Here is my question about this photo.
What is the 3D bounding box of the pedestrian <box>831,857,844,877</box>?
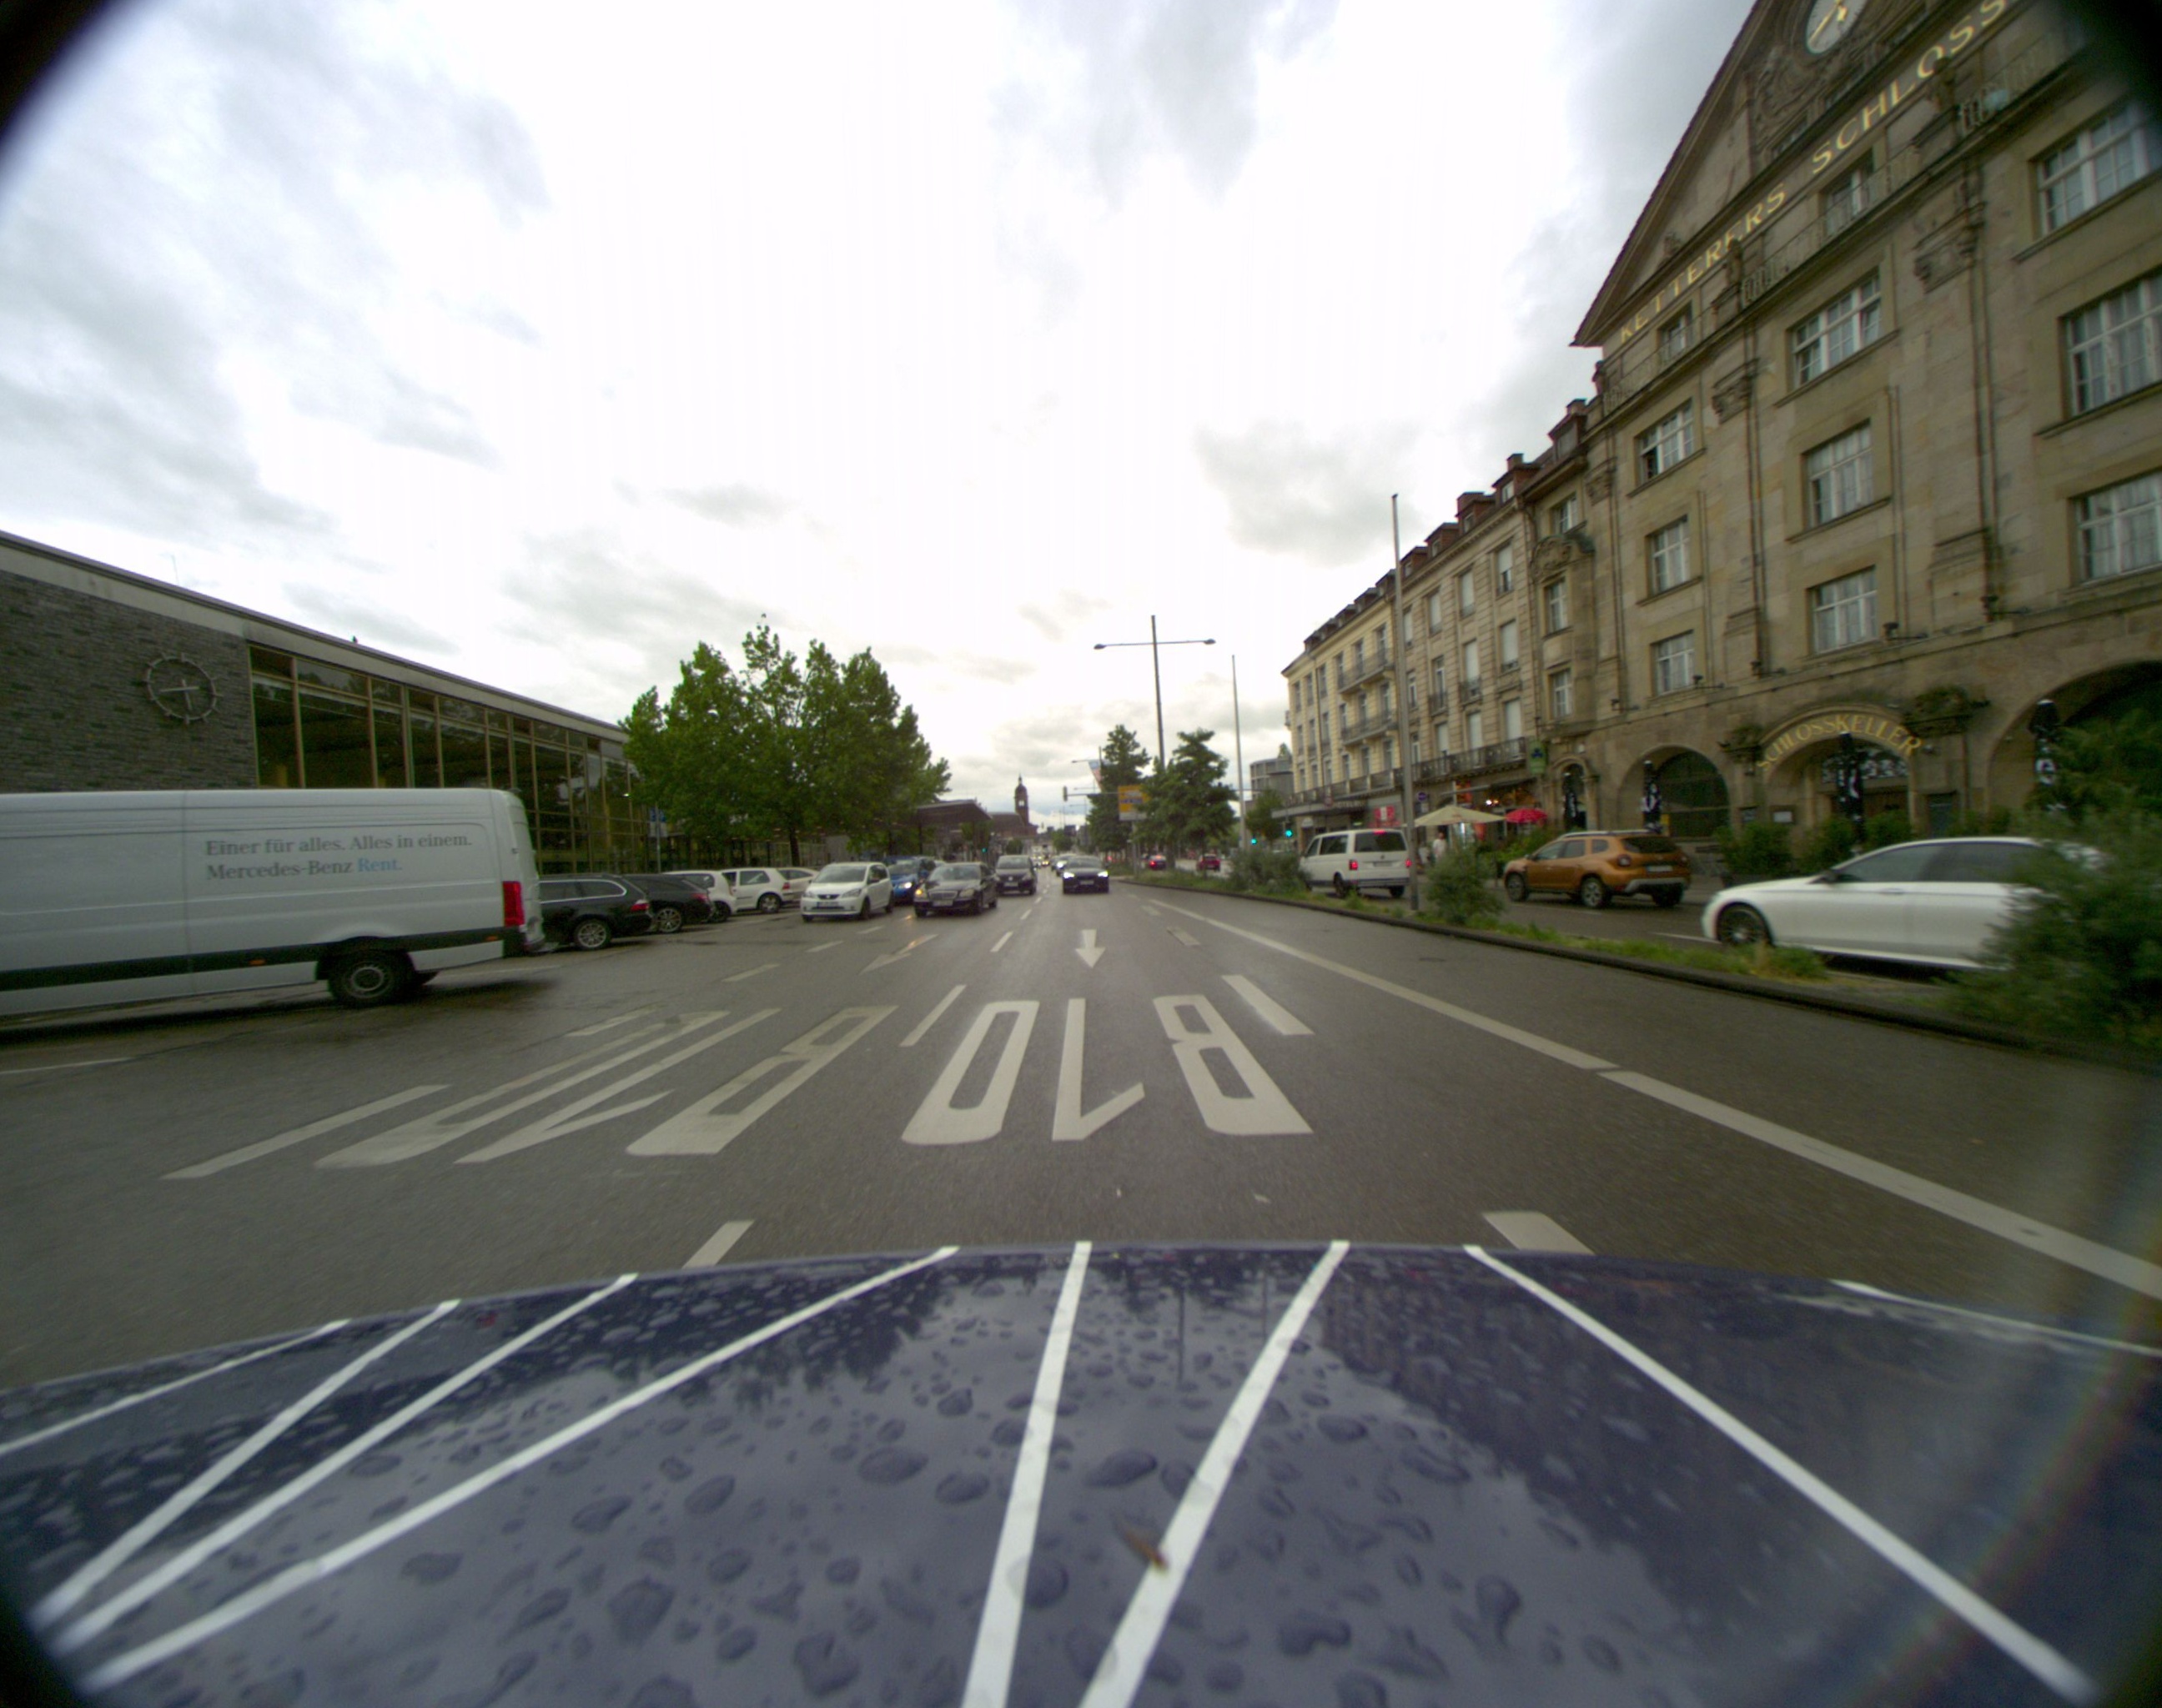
[{"bbox_3d":[-20.318,1.093,63.308,0.762,1.639,0.852,-2,1,-1],"label":"pedestrian"}]

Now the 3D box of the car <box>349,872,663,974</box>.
[{"bbox_3d":[-10.549,1.189,14.448,4.477,1.462,1.915,-2,1,-30],"label":"car"}]

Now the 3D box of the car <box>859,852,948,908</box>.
[{"bbox_3d":[-6.017,0.815,26.263,1.824,1.673,4.417,-2,0,2],"label":"car"}]

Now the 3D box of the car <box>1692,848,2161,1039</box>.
[{"bbox_3d":[8.975,0.664,7.442,1.795,1.399,4.983,-2,1,-3],"label":"car"}]

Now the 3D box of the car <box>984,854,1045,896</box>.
[{"bbox_3d":[-2.565,0.787,30.059,1.871,1.466,3.826,-2,0,2],"label":"car"}]

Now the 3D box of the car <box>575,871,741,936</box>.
[{"bbox_3d":[-11.043,1.230,20.016,3.625,1.391,1.775,-2,1,-29],"label":"car"}]

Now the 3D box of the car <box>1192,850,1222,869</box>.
[{"bbox_3d":[10.551,0.441,63.705,1.682,1.437,3.914,-2,1,-2],"label":"car"}]

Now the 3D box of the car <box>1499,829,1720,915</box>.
[{"bbox_3d":[11.789,0.350,17.359,1.999,1.670,4.100,-2,1,-4],"label":"car"}]

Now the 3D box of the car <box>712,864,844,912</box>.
[{"bbox_3d":[-10.330,1.108,25.963,3.936,1.391,1.775,-2,1,-29],"label":"car"}]

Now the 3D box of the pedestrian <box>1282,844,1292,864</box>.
[{"bbox_3d":[16.105,-0.008,59.364,0.643,1.480,0.747,-3,0,17],"label":"pedestrian"}]

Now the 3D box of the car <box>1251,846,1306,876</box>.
[{"bbox_3d":[10.264,0.335,39.754,1.632,1.423,3.759,-2,0,-4],"label":"car"}]

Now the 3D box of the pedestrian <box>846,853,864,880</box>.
[{"bbox_3d":[-15.144,0.832,50.889,0.823,1.747,0.913,-2,1,5],"label":"pedestrian"}]

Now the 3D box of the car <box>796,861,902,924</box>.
[{"bbox_3d":[-6.169,0.966,20.614,1.661,1.466,3.588,-2,0,2],"label":"car"}]

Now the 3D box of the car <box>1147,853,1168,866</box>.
[{"bbox_3d":[8.663,0.605,86.570,1.847,1.455,4.372,-2,0,-1],"label":"car"}]

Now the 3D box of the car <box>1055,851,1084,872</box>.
[{"bbox_3d":[-0.823,0.555,57.512,1.983,1.438,3.908,-1,1,1],"label":"car"}]

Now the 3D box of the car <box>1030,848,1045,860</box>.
[{"bbox_3d":[-6.304,0.013,110.573,2.055,1.581,4.076,-2,1,-1],"label":"car"}]

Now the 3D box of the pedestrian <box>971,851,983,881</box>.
[{"bbox_3d":[-6.101,0.722,44.592,0.560,1.741,0.700,-1,1,5],"label":"pedestrian"}]

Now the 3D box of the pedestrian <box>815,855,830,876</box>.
[{"bbox_3d":[-18.614,0.810,54.707,0.762,1.502,0.852,-2,1,-1],"label":"pedestrian"}]

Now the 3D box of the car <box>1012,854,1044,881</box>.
[{"bbox_3d":[-3.055,0.749,44.106,1.619,1.477,3.669,-2,0,-1],"label":"car"}]

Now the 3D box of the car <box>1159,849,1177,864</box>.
[{"bbox_3d":[10.257,0.264,89.774,1.815,1.740,3.812,-2,1,4],"label":"car"}]

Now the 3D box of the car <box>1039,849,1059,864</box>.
[{"bbox_3d":[-3.426,0.281,82.772,1.984,1.438,3.908,-3,0,-1],"label":"car"}]

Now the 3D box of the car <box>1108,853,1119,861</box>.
[{"bbox_3d":[6.290,0.485,147.852,1.983,1.438,3.908,-2,1,1],"label":"car"}]

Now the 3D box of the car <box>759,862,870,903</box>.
[{"bbox_3d":[-10.353,1.070,29.588,3.935,1.391,1.776,-2,1,-22],"label":"car"}]

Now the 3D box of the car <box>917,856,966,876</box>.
[{"bbox_3d":[-11.078,0.959,60.154,1.824,1.482,4.148,-2,1,-43],"label":"car"}]

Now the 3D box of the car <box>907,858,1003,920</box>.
[{"bbox_3d":[-3.393,0.900,21.213,1.871,1.466,3.826,-2,0,2],"label":"car"}]

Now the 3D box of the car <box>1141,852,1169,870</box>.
[{"bbox_3d":[6.622,0.598,68.508,1.847,1.455,5.029,-2,0,-1],"label":"car"}]

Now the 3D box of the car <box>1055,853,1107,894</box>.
[{"bbox_3d":[0.072,0.735,30.290,1.871,1.466,3.826,-2,0,2],"label":"car"}]

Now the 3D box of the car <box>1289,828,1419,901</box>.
[{"bbox_3d":[8.224,0.278,23.440,1.926,1.962,4.853,-2,1,-4],"label":"car"}]

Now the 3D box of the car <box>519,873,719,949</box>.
[{"bbox_3d":[-10.434,1.230,17.428,3.695,1.391,1.775,-2,1,-29],"label":"car"}]

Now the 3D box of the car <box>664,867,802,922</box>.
[{"bbox_3d":[-10.533,1.157,22.994,3.625,1.391,1.775,-2,1,-29],"label":"car"}]

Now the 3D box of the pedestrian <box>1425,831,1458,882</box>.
[{"bbox_3d":[14.279,0.087,30.132,0.678,1.900,0.765,-10,3,0],"label":"pedestrian"}]

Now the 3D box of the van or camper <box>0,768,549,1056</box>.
[{"bbox_3d":[-10.452,0.555,8.977,6.540,2.853,2.275,-2,1,-30],"label":"van or camper"}]
